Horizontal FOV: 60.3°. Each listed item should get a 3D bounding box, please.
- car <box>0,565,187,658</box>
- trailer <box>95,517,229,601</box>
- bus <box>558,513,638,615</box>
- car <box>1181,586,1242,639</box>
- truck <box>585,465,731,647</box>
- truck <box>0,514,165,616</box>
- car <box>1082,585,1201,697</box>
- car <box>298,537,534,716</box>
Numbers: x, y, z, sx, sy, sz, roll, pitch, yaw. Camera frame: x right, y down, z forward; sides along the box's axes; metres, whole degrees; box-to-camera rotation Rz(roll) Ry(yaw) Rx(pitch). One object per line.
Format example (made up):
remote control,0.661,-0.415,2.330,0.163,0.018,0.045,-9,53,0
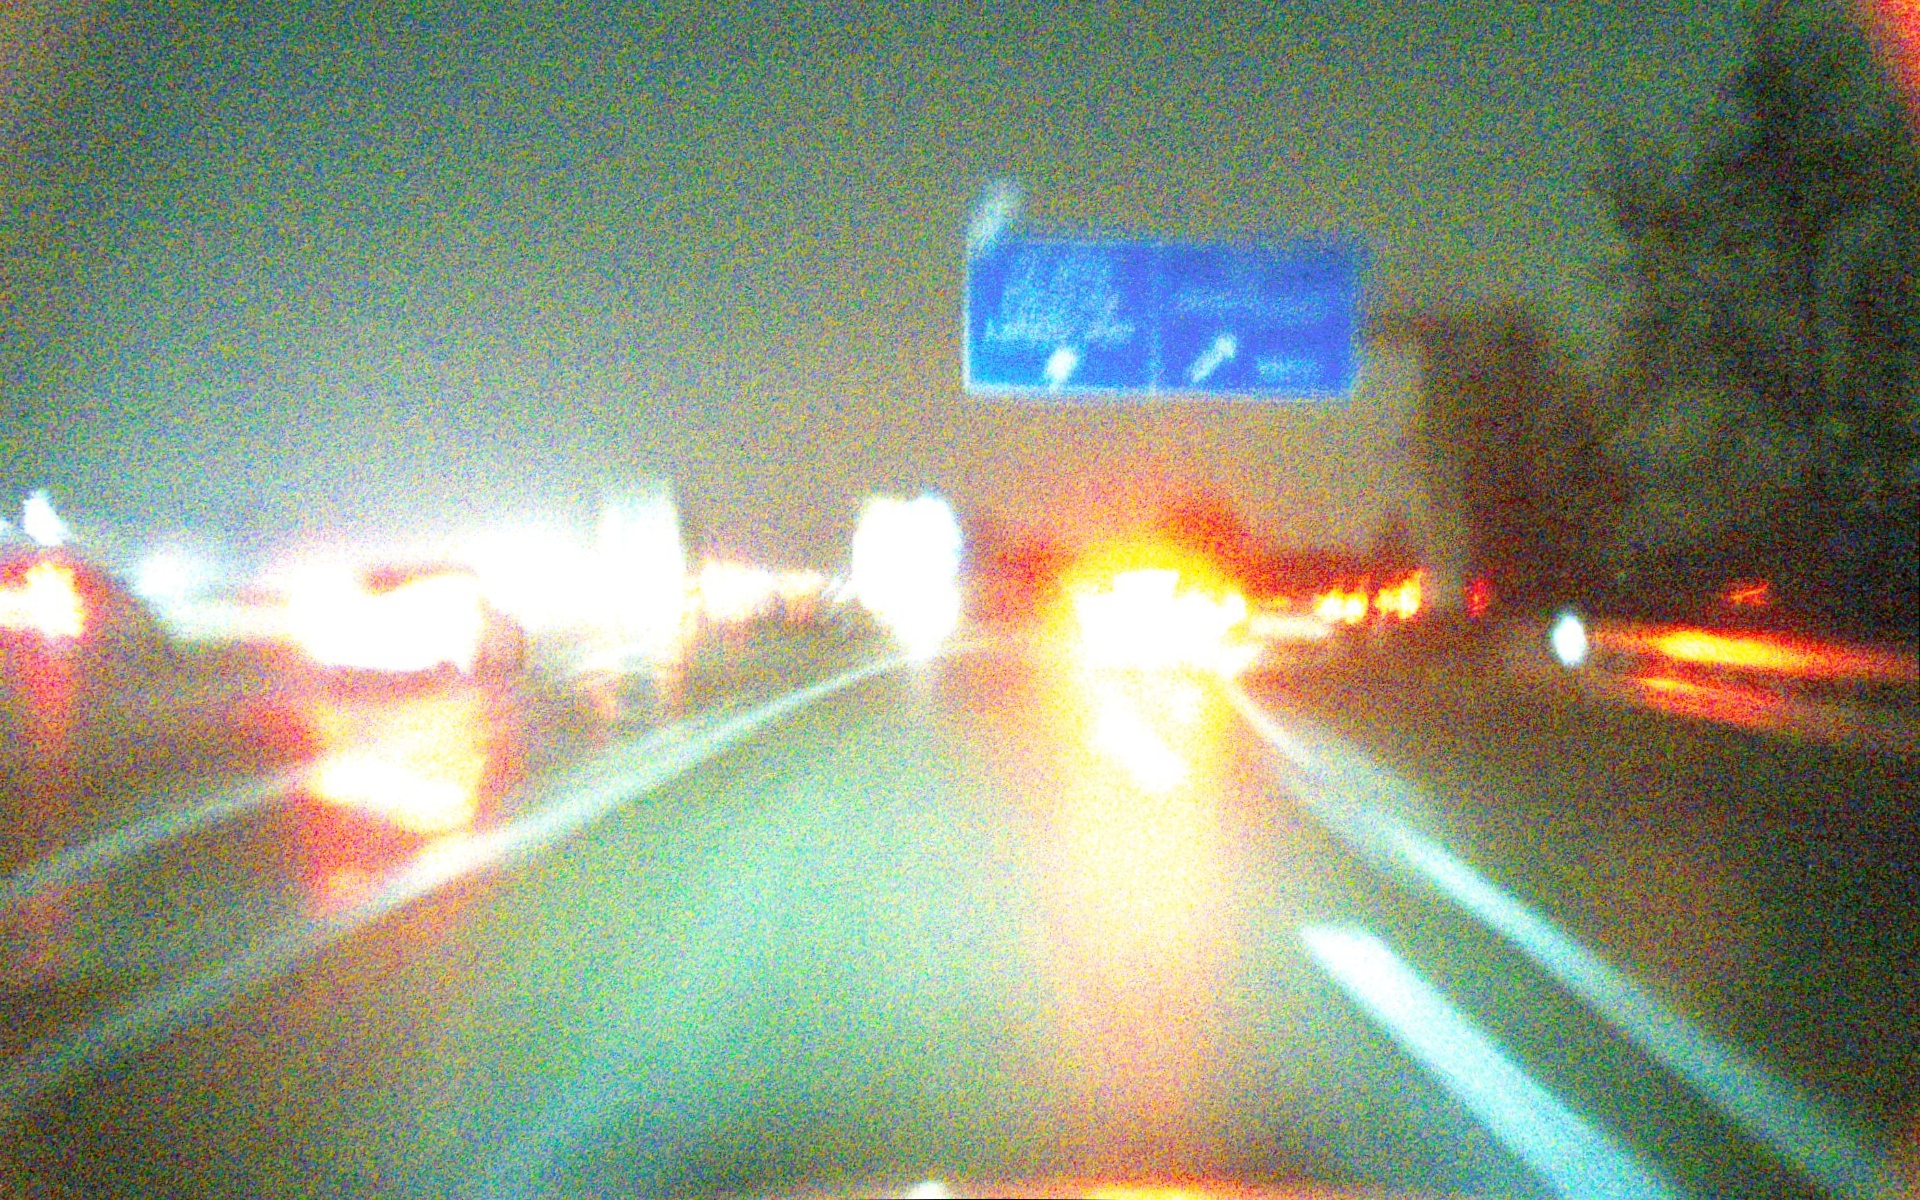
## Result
car,-15.957,0.163,29.837,1.955,1.502,5.160,2,0,-5
trailer,-36.657,-1.816,76.383,2.575,3.571,8.878,2,0,-6
bus,-17.703,-1.696,81.494,3.040,4.586,10.891,2,0,-9
car,9.296,0.444,60.964,1.951,1.839,4.003,2,0,12
truck,-10.546,-1.442,59.265,4.129,5.747,11.452,2,0,-6
truck,-35.762,-1.366,67.204,2.575,3.758,10.851,2,0,-6
car,3.279,0.701,30.207,1.951,1.839,4.003,2,0,5
car,-7.000,0.303,21.820,2.086,2.049,4.638,2,0,-8
